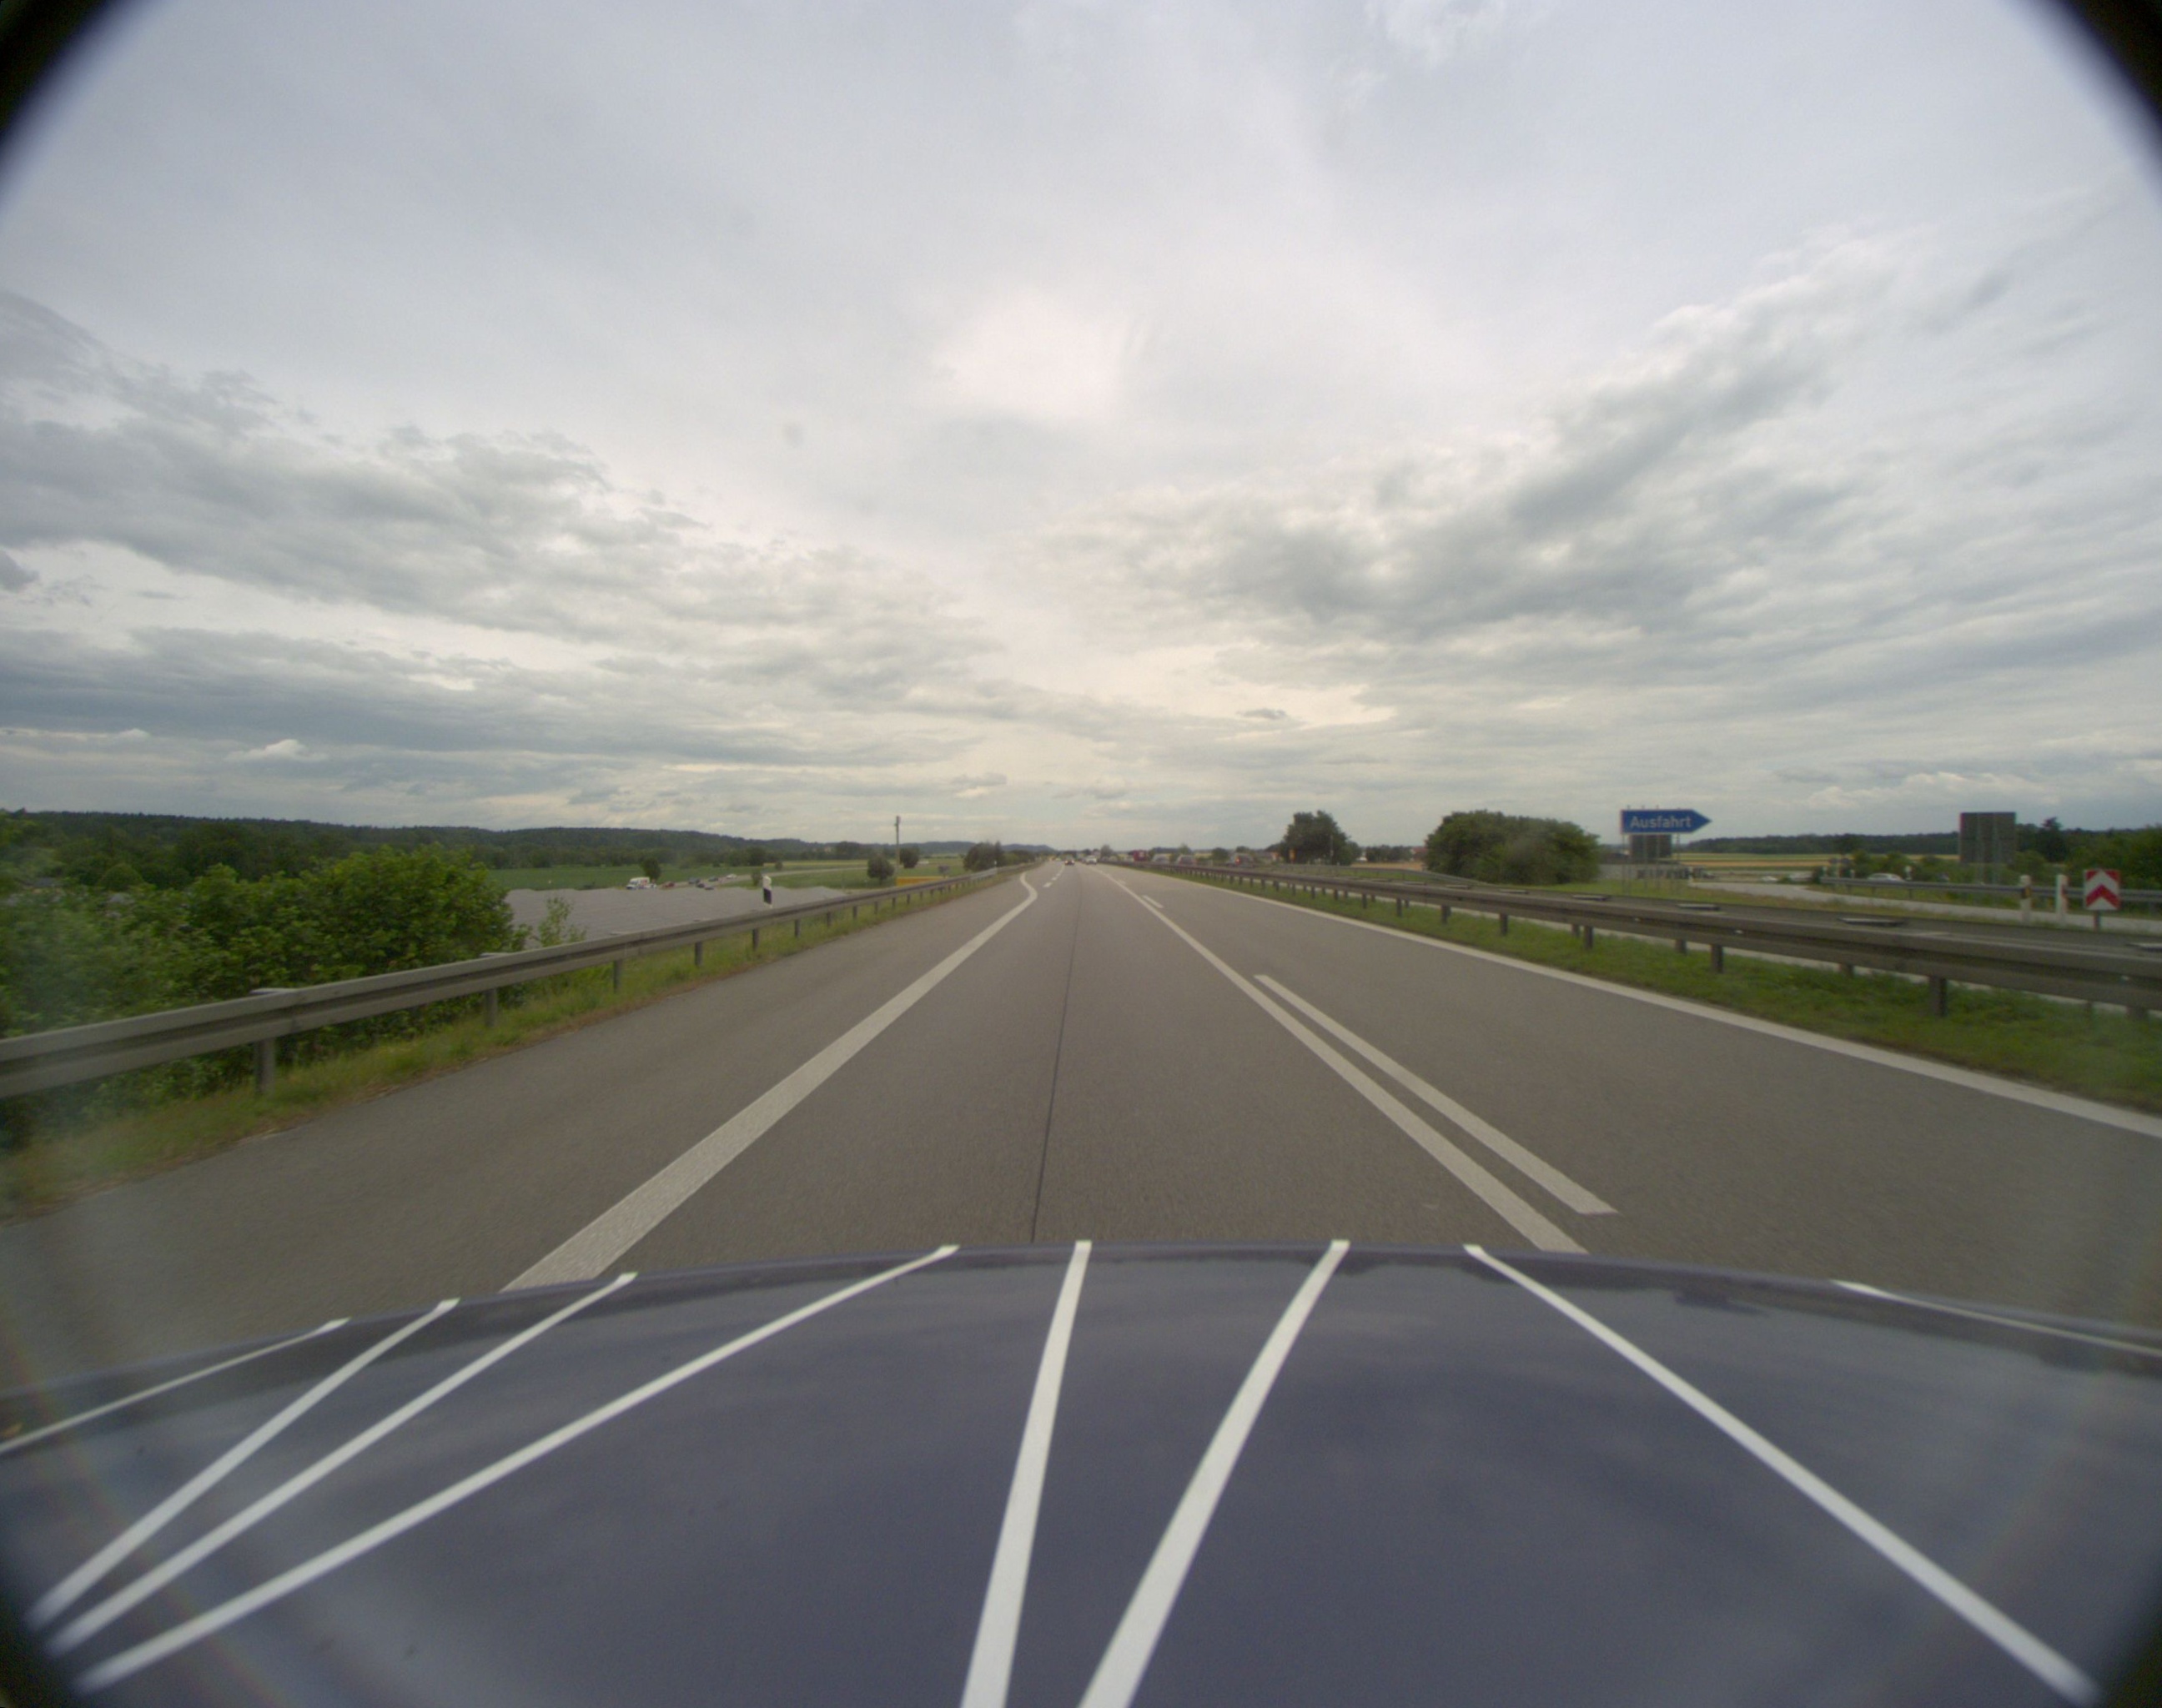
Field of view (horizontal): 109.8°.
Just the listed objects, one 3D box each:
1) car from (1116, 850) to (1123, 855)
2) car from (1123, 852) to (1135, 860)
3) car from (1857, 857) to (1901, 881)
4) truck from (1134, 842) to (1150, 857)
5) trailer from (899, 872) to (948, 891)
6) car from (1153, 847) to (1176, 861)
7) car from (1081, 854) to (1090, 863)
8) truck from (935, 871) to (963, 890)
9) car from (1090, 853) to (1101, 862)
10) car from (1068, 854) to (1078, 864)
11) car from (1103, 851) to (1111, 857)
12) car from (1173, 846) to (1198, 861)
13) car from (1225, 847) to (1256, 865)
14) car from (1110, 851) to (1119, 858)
[{"bbox_3d":[10.901,-0.503,216.834,1.830,1.338,4.783,0,0,-1],"label":"car"},{"bbox_3d":[8.936,0.380,140.815,1.896,1.579,4.762,0,0,-1],"label":"car"},{"bbox_3d":[75.497,1.401,71.875,4.006,2.002,1.995,-2,1,-31],"label":"car"},{"bbox_3d":[15.759,-1.169,197.393,2.675,3.516,11.075,1,0,-2],"label":"truck"},{"bbox_3d":[-41.854,7.193,202.078,12.305,4.759,3.018,-1,0,-4],"label":"trailer"},{"bbox_3d":[10.456,-0.044,95.110,2.141,1.579,4.998,-4,0,-1],"label":"car"},{"bbox_3d":[1.136,0.983,176.559,1.998,2.002,3.999,-2,0,0],"label":"car"},{"bbox_3d":[-35.125,7.072,202.594,7.138,4.759,3.018,-1,0,-4],"label":"truck"},{"bbox_3d":[2.578,0.634,136.245,1.850,1.665,4.200,0,0,1],"label":"car"},{"bbox_3d":[-1.634,1.020,146.910,1.851,1.850,3.999,0,0,-2],"label":"car"},{"bbox_3d":[7.247,-0.019,211.372,1.896,1.579,4.762,0,0,-1],"label":"car"},{"bbox_3d":[9.682,-0.028,70.676,1.804,1.385,4.000,0,0,0],"label":"car"},{"bbox_3d":[13.929,0.184,66.355,1.804,1.385,4.000,-2,0,0],"label":"car"},{"bbox_3d":[8.021,0.155,183.027,1.858,1.579,4.816,0,0,-1],"label":"car"}]
